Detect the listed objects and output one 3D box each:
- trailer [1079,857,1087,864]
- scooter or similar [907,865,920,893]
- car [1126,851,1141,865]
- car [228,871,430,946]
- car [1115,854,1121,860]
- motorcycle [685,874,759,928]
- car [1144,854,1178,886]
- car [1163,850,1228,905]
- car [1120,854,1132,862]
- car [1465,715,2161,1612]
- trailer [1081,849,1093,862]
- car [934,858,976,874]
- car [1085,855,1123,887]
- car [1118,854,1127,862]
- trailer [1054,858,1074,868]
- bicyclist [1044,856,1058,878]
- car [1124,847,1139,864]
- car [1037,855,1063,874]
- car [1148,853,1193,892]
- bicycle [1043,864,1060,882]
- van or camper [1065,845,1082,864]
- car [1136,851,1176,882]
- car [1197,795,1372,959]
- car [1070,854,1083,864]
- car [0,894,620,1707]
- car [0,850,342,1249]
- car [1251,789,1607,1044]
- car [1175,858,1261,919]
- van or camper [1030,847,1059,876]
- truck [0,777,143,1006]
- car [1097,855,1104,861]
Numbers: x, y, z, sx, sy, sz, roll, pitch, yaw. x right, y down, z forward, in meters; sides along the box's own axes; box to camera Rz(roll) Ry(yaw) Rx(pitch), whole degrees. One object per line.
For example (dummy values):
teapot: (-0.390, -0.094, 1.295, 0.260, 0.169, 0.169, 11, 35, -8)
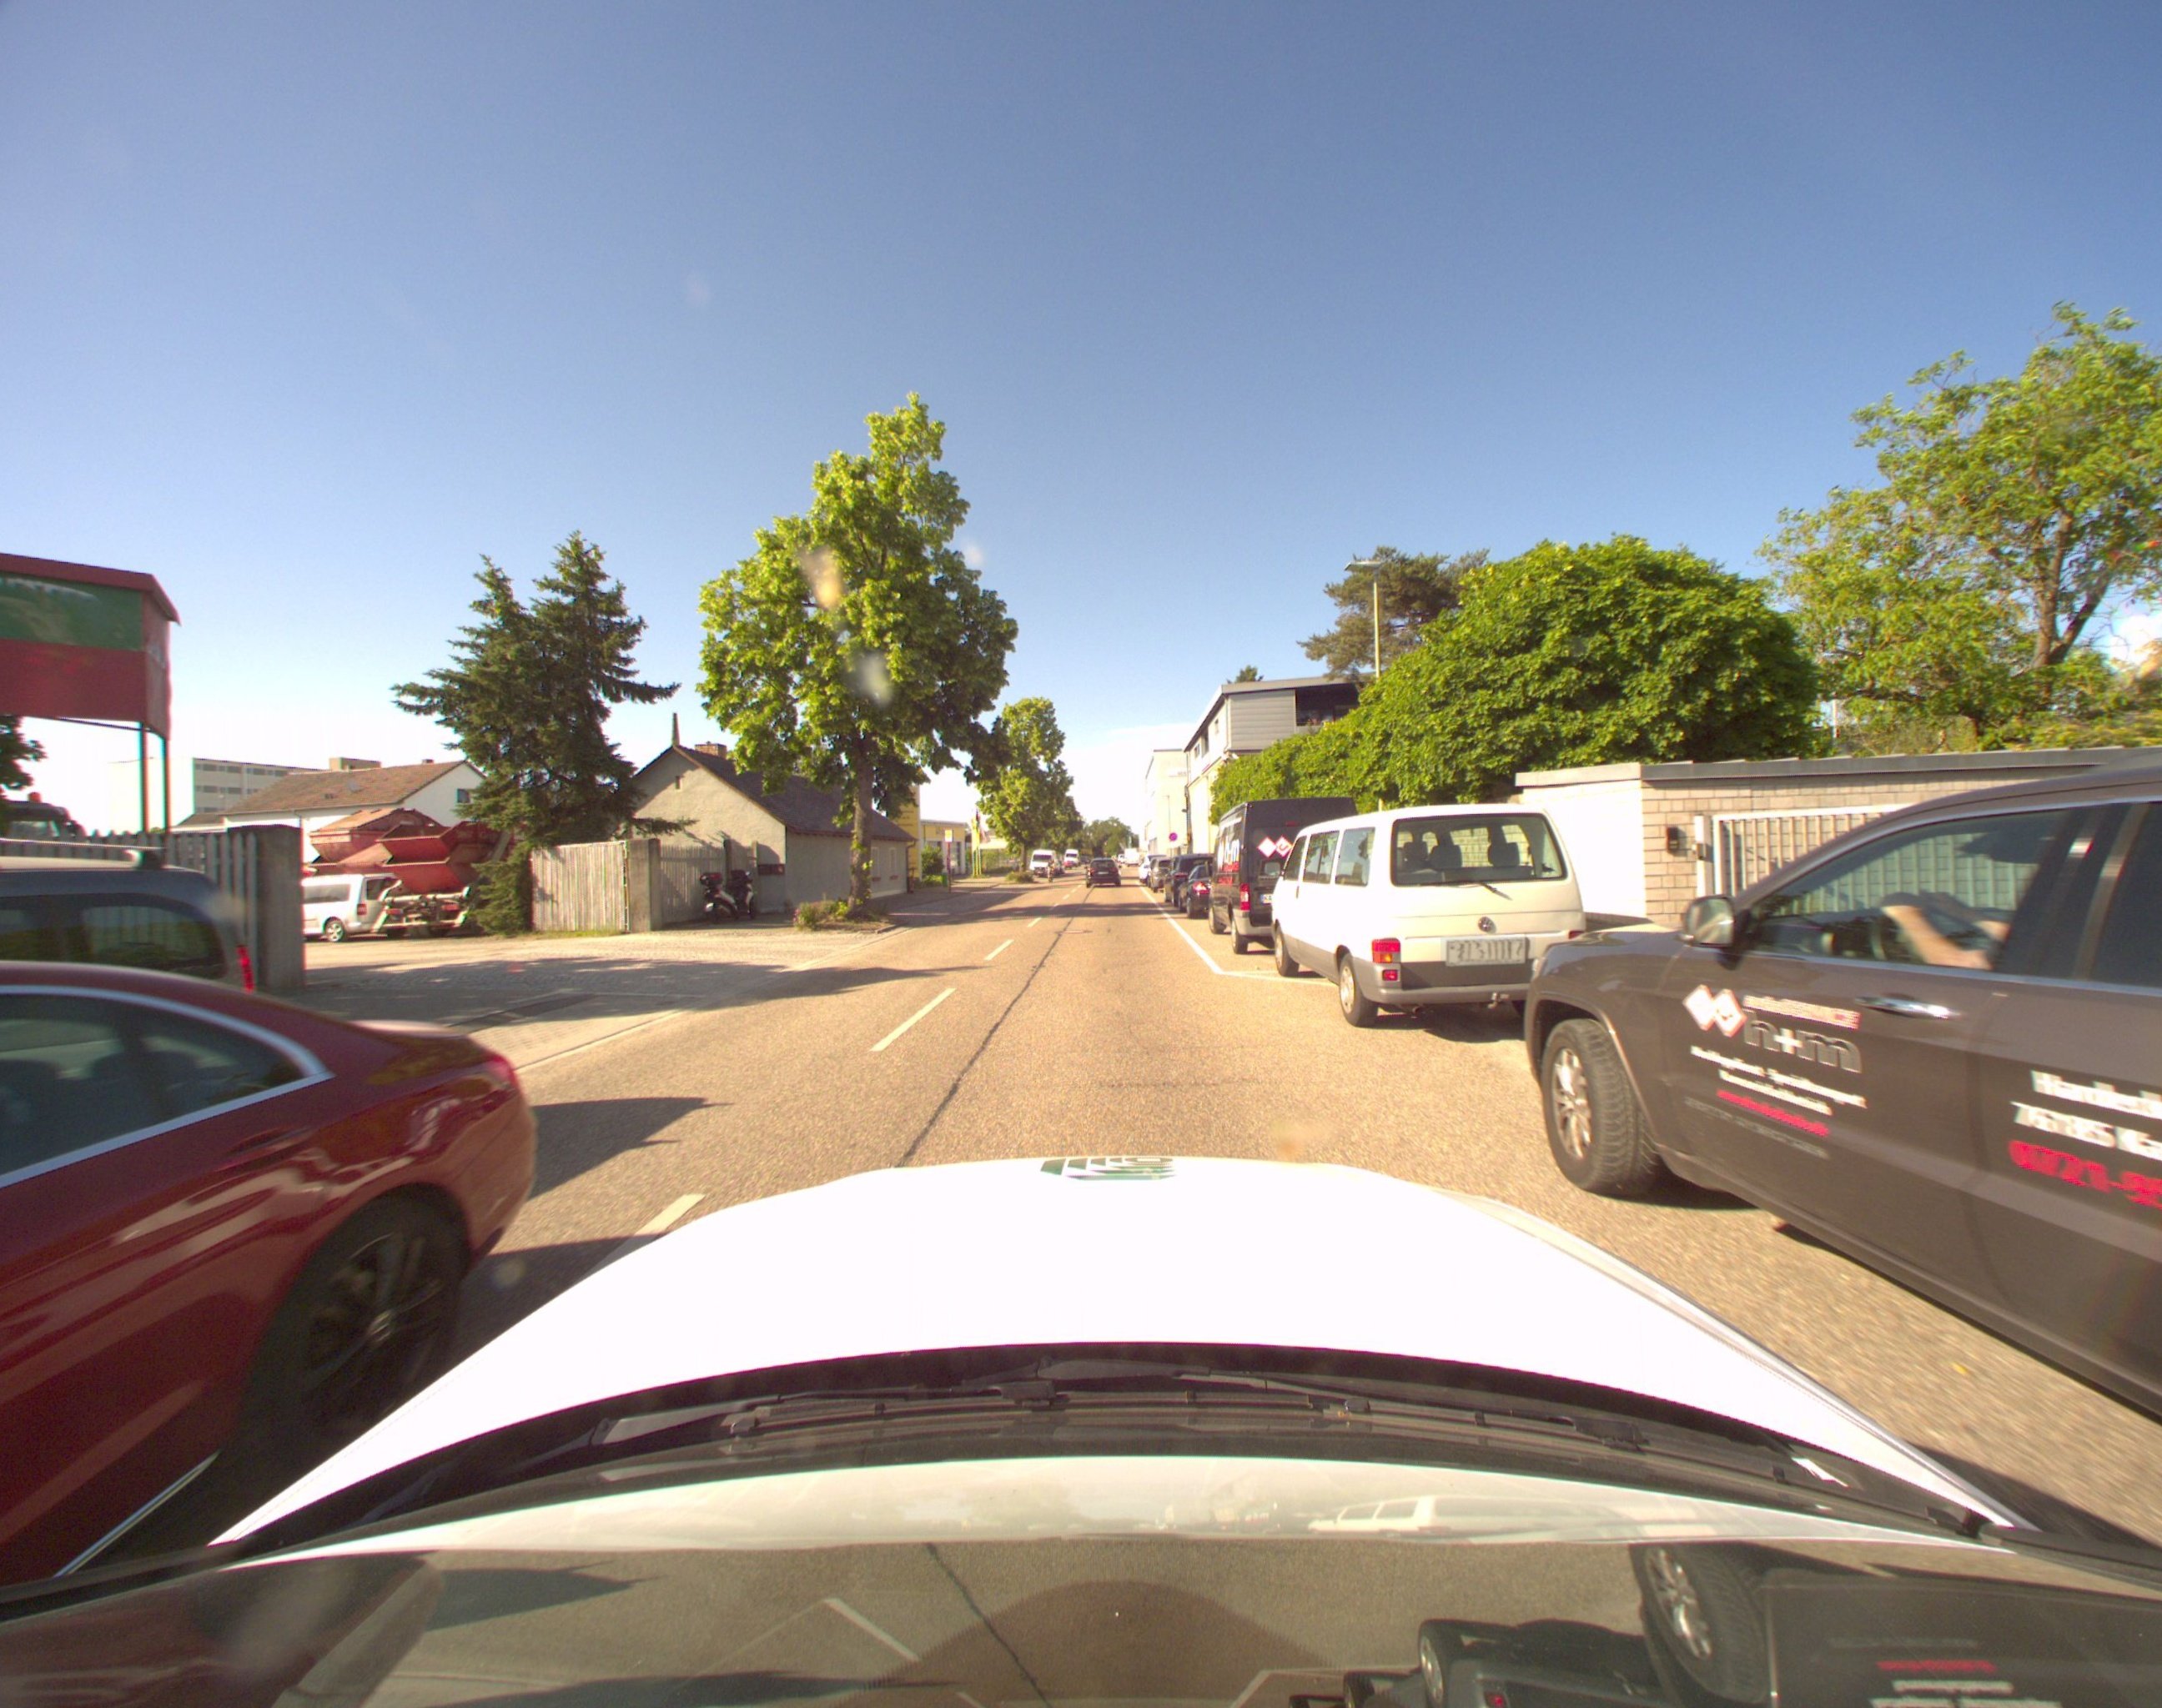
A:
trailer: (0.351, 1.267, 158.417, 1.471, 1.354, 3.080, 0, 0, 2)
scooter or similar: (-7.918, 1.167, 38.485, 0.483, 1.271, 1.570, -1, 0, -15)
car: (6.913, 0.524, 106.552, 1.881, 1.832, 5.095, -1, 0, 3)
car: (-21.466, 1.543, 23.306, 4.433, 1.934, 1.922, -2, 0, 11)
car: (11.434, 0.992, 254.815, 1.867, 2.014, 5.163, 0, -1, 2)
motorcycle: (-9.188, 1.161, 20.955, 0.697, 1.233, 2.540, 0, 0, 2)
car: (4.047, 0.772, 41.136, 1.591, 1.473, 4.196, -2, 0, 6)
car: (3.567, 0.694, 25.957, 1.675, 1.613, 4.208, 0, 0, 3)
car: (7.972, 0.745, 143.956, 1.887, 1.405, 5.125, 0, -1, 1)
car: (3.014, 0.606, 2.163, 1.795, 1.744, 4.914, 0, -1, 2)
trailer: (1.612, 0.474, 217.516, 2.981, 3.443, 8.161, -2, 0, 1)
car: (-13.961, 1.305, 90.565, 4.130, 1.574, 1.922, -2, 0, 12)
car: (1.224, 0.840, 42.256, 1.840, 1.530, 4.003, -2, 0, 2)
car: (9.639, 0.856, 188.297, 1.879, 1.798, 5.104, 0, -1, 1)
trailer: (-2.161, 1.200, 105.319, 2.367, 1.080, 6.248, 2, 1, 2)
bicyclist: (-2.054, 0.903, 56.509, 0.835, 1.542, 1.138, 1, -1, 5)
car: (8.204, 0.268, 132.581, 1.987, 2.597, 6.052, -4, 1, 1)
car: (-3.011, 1.033, 80.723, 1.984, 1.738, 4.581, 2, 0, 5)
car: (3.860, 0.762, 35.611, 1.653, 1.505, 4.034, -2, 0, 3)
bicycle: (-2.054, 1.309, 56.506, 0.835, 1.240, 2.607, 1, -1, 5)
van or camper: (-1.132, 0.018, 124.078, 1.957, 2.685, 5.953, 3, 0, 4)
car: (4.330, 0.703, 47.719, 1.925, 1.644, 4.770, -2, 0, 1)
car: (3.256, 0.327, 14.162, 1.884, 2.260, 5.149, -2, 0, 3)
car: (-0.811, 0.823, 137.205, 2.023, 1.694, 5.107, 2, 0, 0)
car: (-2.712, 0.927, 1.014, 1.867, 1.420, 4.523, -4, 0, -4)
car: (-5.956, 0.905, 3.117, 1.767, 1.849, 4.621, 0, 0, 5)
car: (3.234, 0.492, 8.838, 1.884, 1.925, 4.924, -2, 0, 3)
car: (3.410, 0.811, 20.880, 1.648, 1.318, 4.106, -2, 0, 3)
van or camper: (-3.342, 0.643, 75.177, 2.063, 2.549, 6.406, 2, 0, 2)
truck: (-19.416, 0.666, 12.070, 7.390, 3.339, 2.901, -2, 0, -2)
car: (5.046, 0.978, 208.356, 1.740, 1.447, 4.362, -2, 0, 2)
